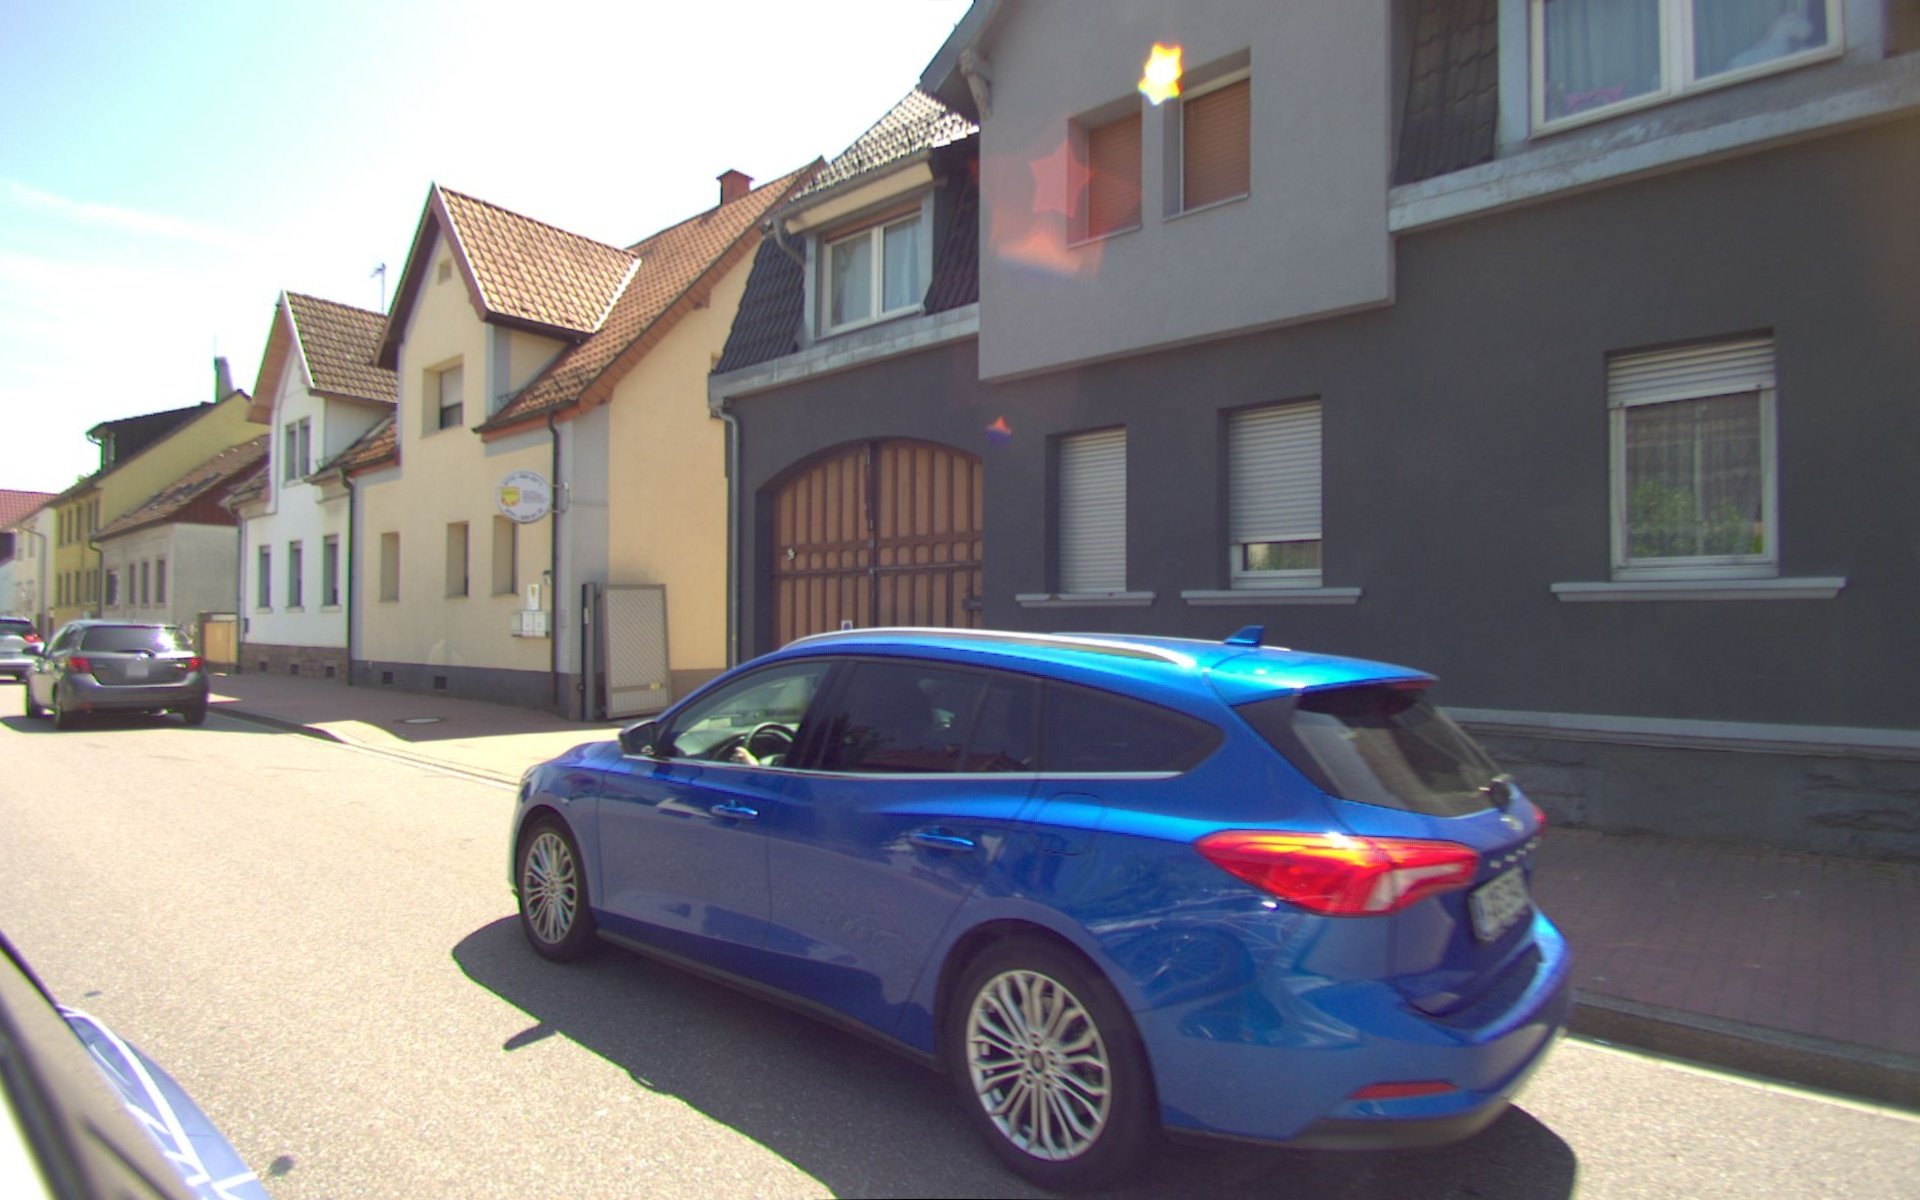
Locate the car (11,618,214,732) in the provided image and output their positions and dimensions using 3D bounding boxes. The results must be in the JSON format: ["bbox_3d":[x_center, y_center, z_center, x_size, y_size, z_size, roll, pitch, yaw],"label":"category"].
[{"bbox_3d":[-12.641,1.019,15.018,3.926,1.470,1.659,-1,-3,41],"label":"car"}]

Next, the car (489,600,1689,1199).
[{"bbox_3d":[-0.017,0.793,3.868,4.400,1.465,1.628,-1,-3,42],"label":"car"}]

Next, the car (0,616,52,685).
[{"bbox_3d":[-24.105,1.200,24.974,4.428,1.615,1.854,-1,-4,40],"label":"car"}]
